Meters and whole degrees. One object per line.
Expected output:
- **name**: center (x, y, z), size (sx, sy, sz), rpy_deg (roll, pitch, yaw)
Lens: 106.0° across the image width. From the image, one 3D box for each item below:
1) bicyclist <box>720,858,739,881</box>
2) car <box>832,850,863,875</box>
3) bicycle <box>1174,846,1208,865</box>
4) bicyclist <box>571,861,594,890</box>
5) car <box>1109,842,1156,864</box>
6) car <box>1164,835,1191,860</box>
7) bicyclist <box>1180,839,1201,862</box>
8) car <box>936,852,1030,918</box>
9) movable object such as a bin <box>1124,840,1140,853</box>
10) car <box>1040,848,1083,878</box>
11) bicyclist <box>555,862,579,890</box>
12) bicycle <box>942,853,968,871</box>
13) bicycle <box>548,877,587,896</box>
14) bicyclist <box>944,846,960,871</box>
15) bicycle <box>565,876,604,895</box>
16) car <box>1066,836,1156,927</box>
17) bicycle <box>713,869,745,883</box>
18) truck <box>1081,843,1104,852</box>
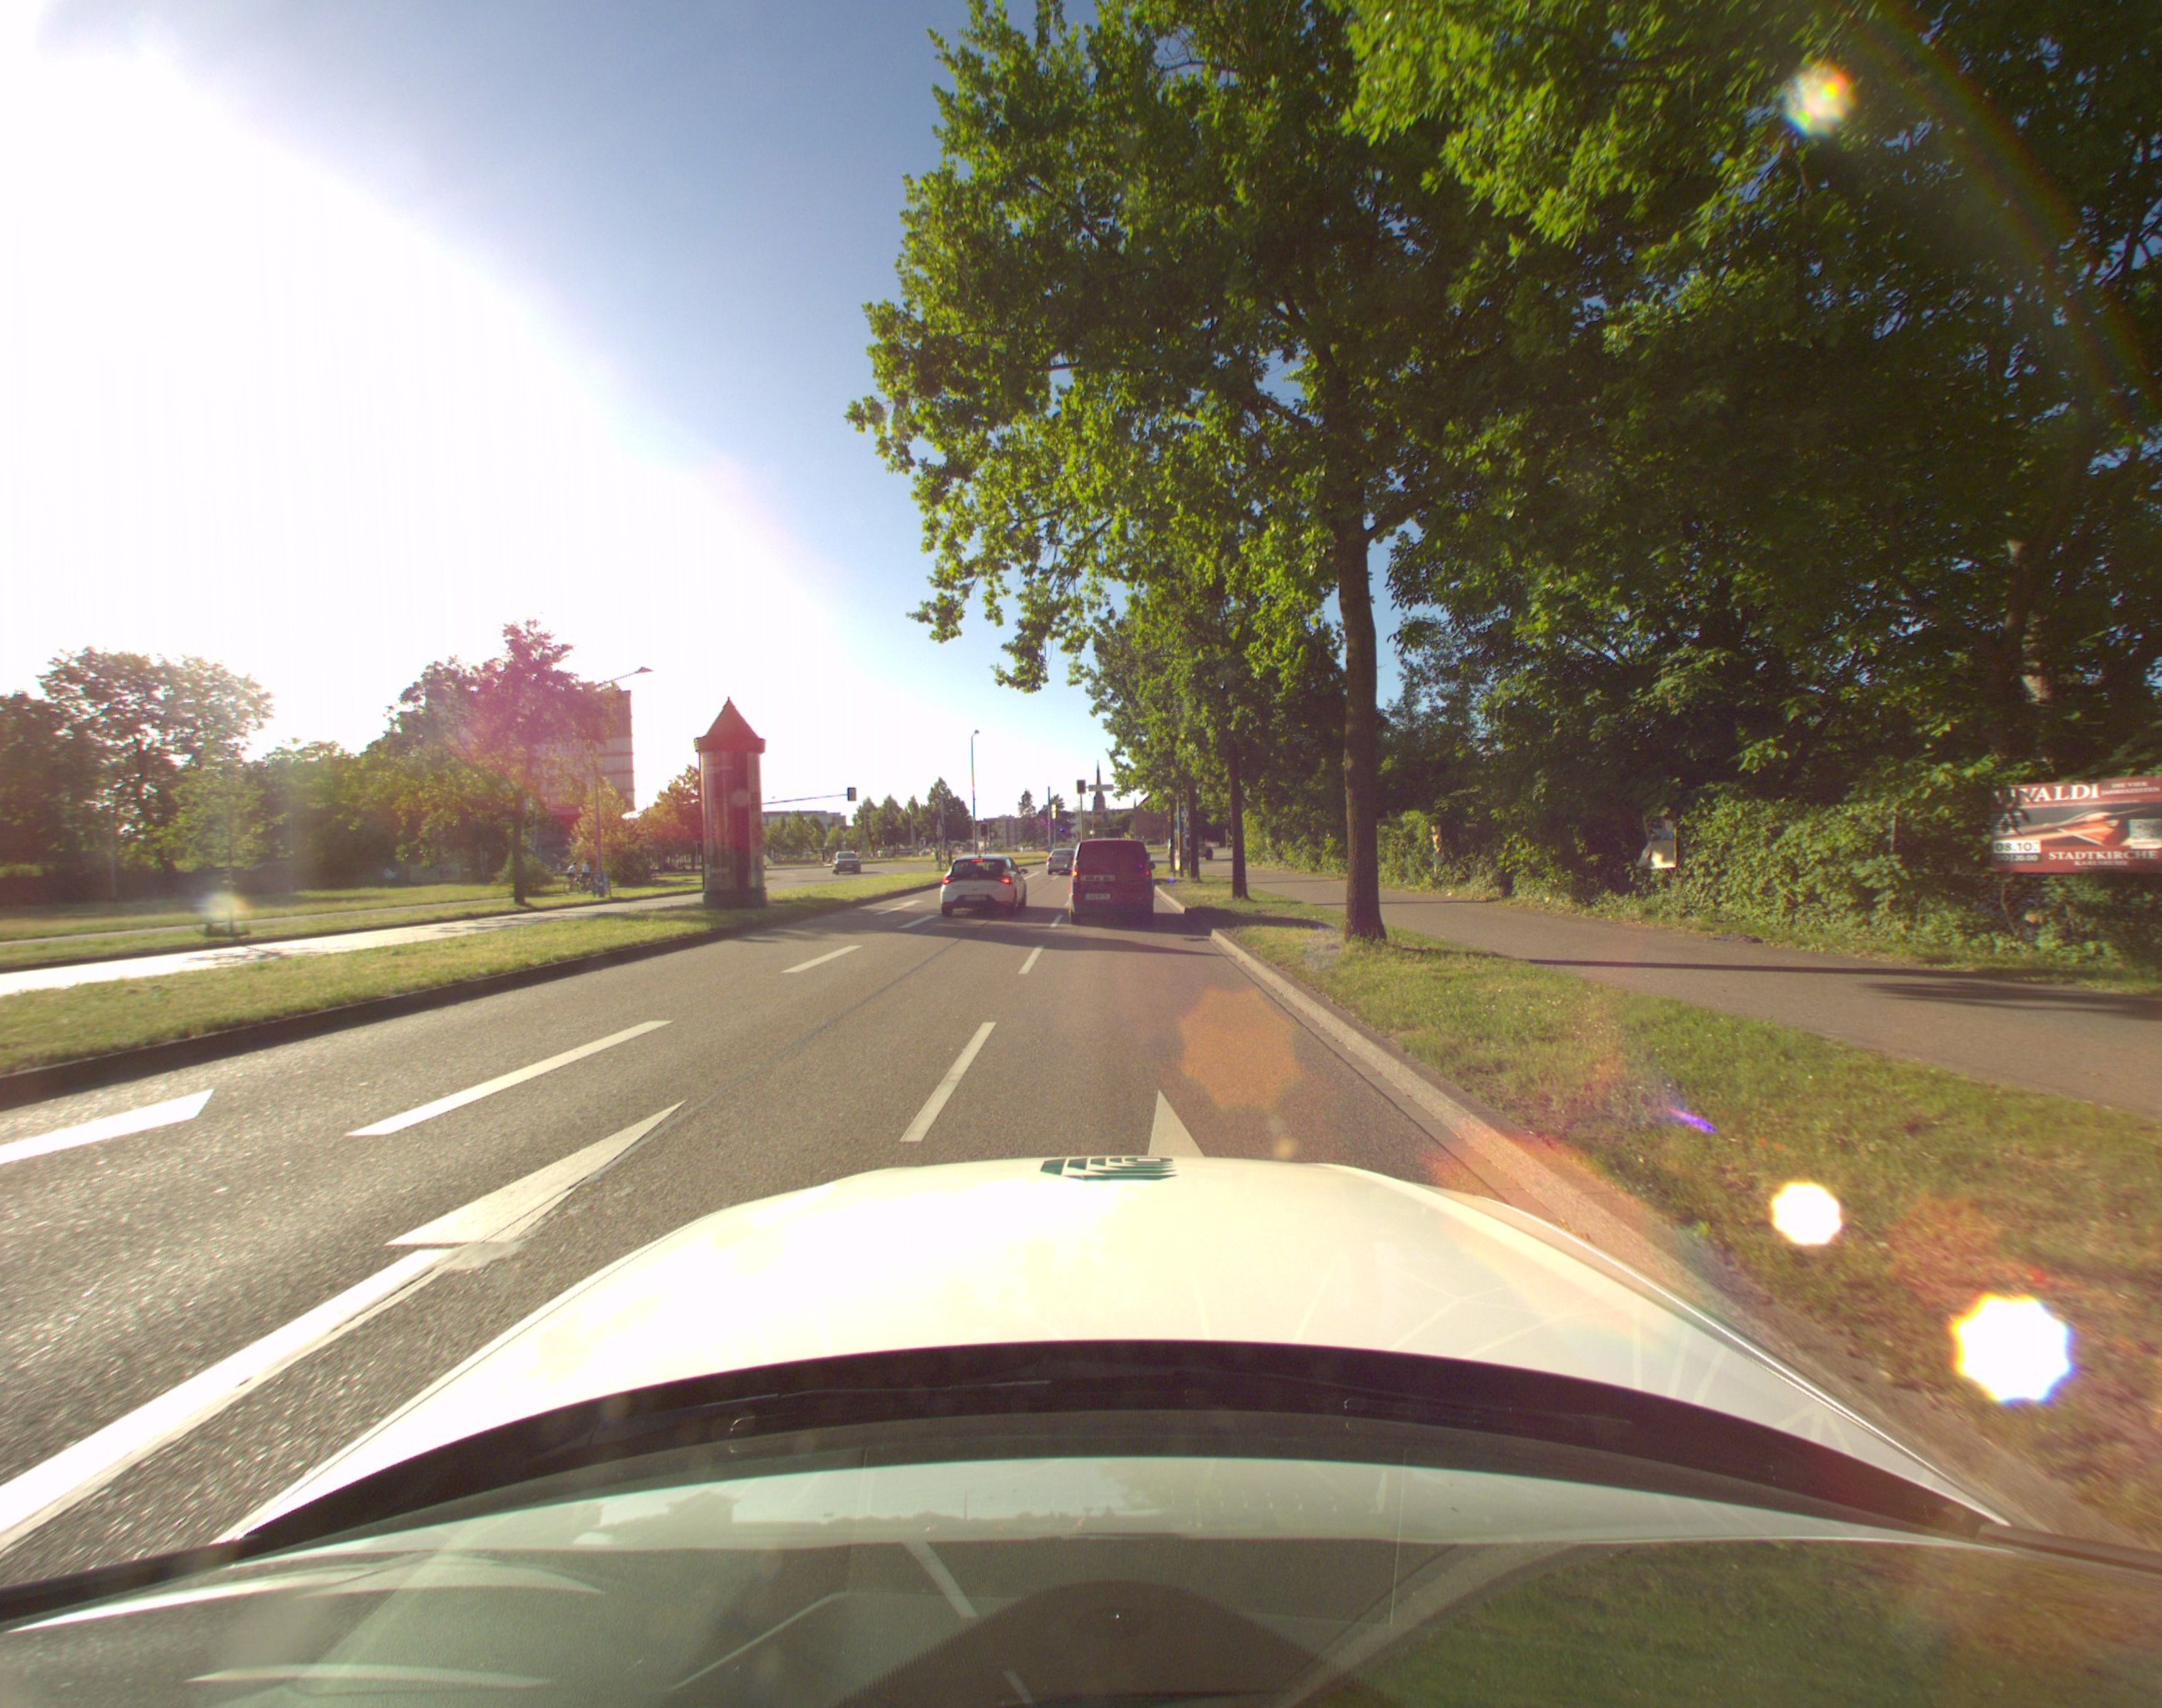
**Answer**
- **bicyclist**: center (-23.775, 1.020, 55.098), size (0.917, 1.517, 0.619), rpy_deg (-2, 1, 8)
- **car**: center (-18.170, 0.655, 63.145), size (2.000, 1.739, 4.707), rpy_deg (-2, 0, -19)
- **bicycle**: center (7.721, 0.090, 57.101), size (2.218, 1.155, 0.870), rpy_deg (-3, -1, -22)
- **bicyclist**: center (-25.299, 1.096, 41.337), size (0.612, 1.392, 0.720), rpy_deg (-2, 1, 6)
- **car**: center (4.291, -0.085, 67.506), size (1.974, 1.639, 4.437), rpy_deg (-2, 1, 32)
- **car**: center (7.662, -0.492, 64.899), size (1.987, 1.897, 4.761), rpy_deg (-2, 0, 6)
- **bicyclist**: center (7.684, -0.239, 57.090), size (1.088, 1.562, 0.870), rpy_deg (-3, -1, -21)
- **car**: center (-2.365, 0.710, 20.551), size (1.796, 1.461, 3.811), rpy_deg (0, 0, 2)
- **movable object such as a bin**: center (10.952, -1.573, 176.261), size (2.422, 2.773, 3.981), rpy_deg (0, -1, -14)
- **car**: center (-1.052, 0.476, 47.177), size (1.984, 1.575, 4.414), rpy_deg (-2, 1, 4)
- **bicyclist**: center (-26.408, 1.105, 41.870), size (0.612, 1.392, 0.839), rpy_deg (-2, 1, 6)
- **bicycle**: center (-8.476, 0.554, 54.860), size (1.649, 1.128, 0.702), rpy_deg (-2, -1, -8)
- **bicycle**: center (-26.395, 1.652, 41.880), size (0.612, 0.852, 1.892), rpy_deg (-2, 1, 6)
- **bicyclist**: center (-8.679, 0.291, 54.823), size (0.939, 1.663, 0.702), rpy_deg (-1, -1, -8)
- **bicycle**: center (-25.247, 1.588, 41.442), size (0.612, 0.852, 1.892), rpy_deg (-2, 1, 6)
- **car**: center (0.699, 0.531, 18.232), size (1.795, 1.813, 3.813), rpy_deg (0, 0, 3)
- **bicycle**: center (-23.810, 1.485, 55.105), size (1.872, 0.852, 0.619), rpy_deg (-2, 1, 8)
- **truck**: center (2.736, -1.554, 194.160), size (2.181, 2.014, 6.364), rpy_deg (0, -1, -37)
